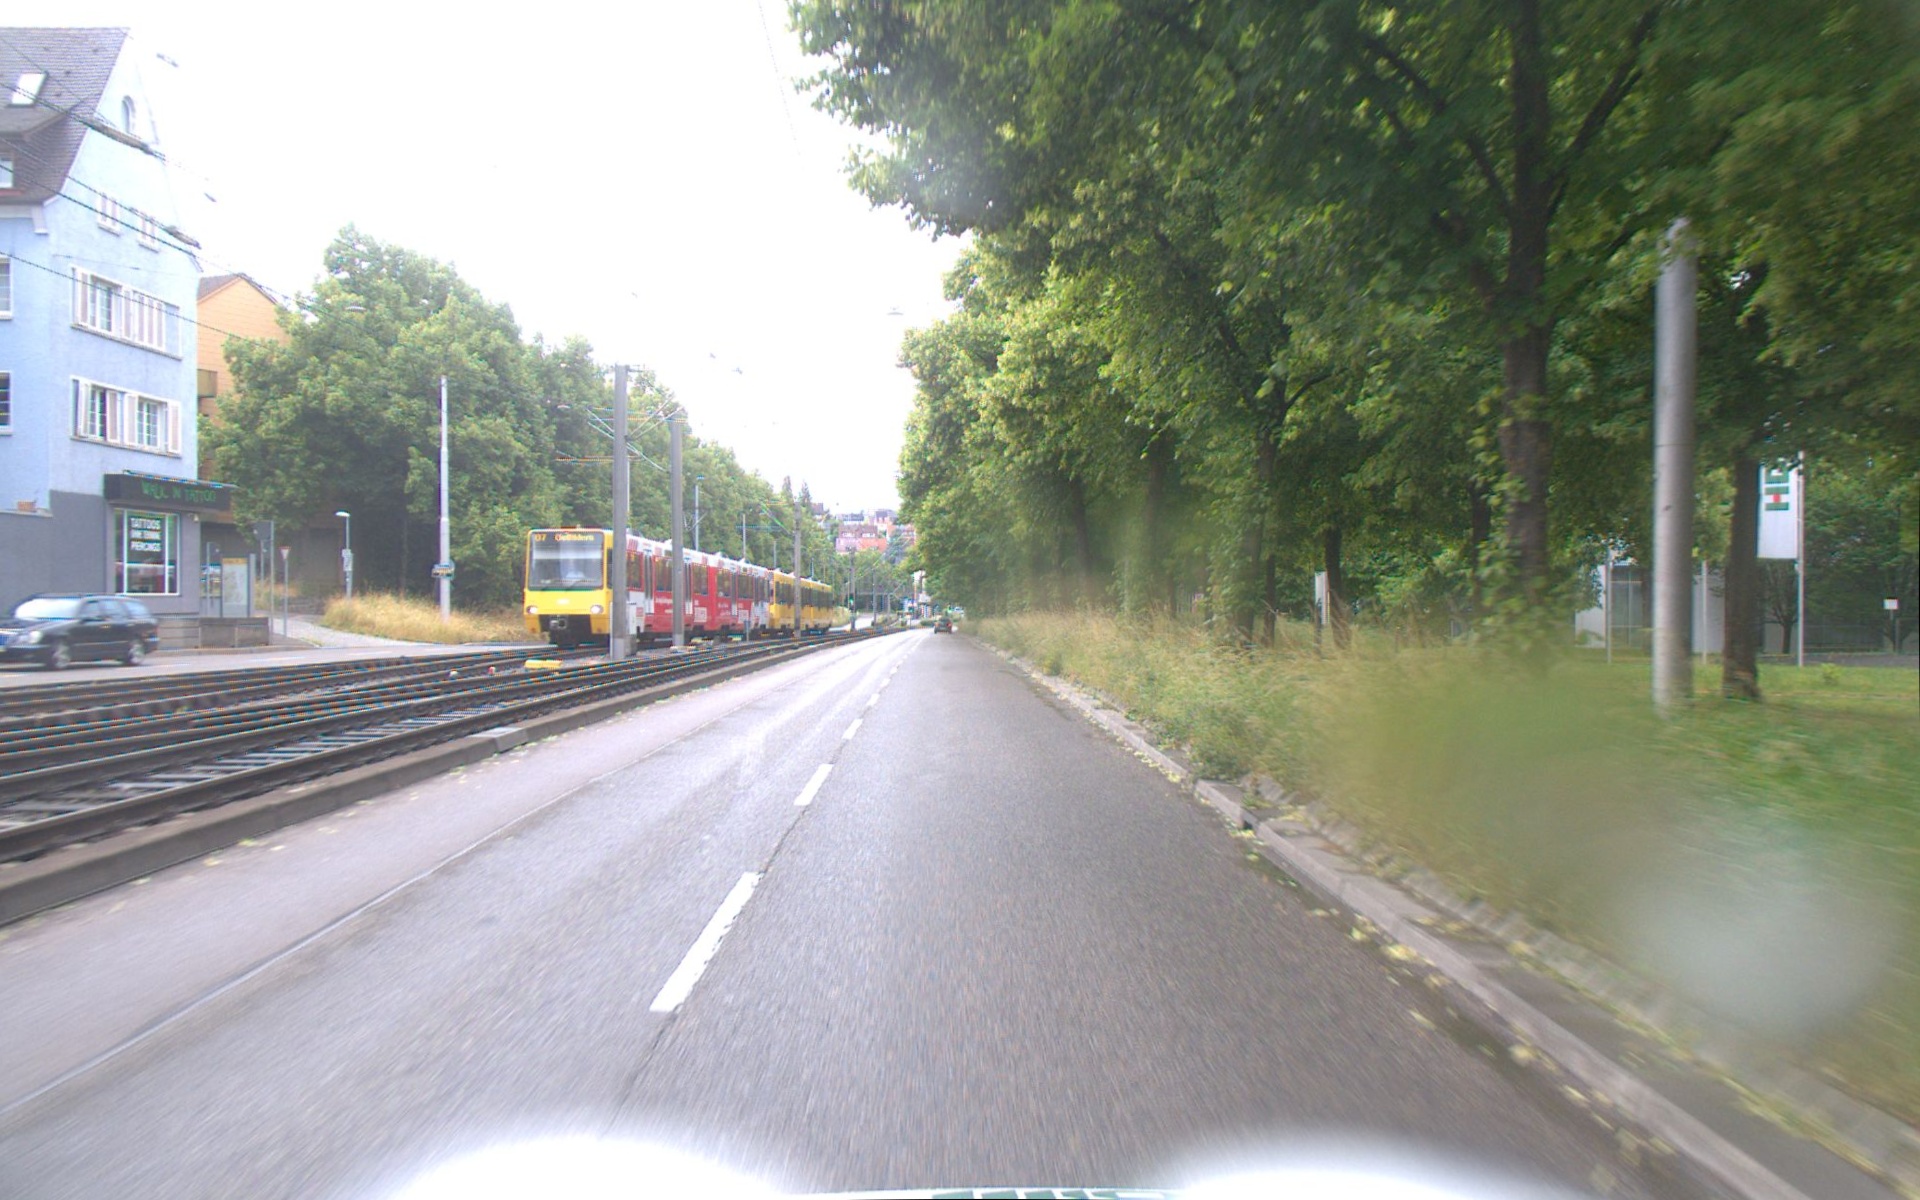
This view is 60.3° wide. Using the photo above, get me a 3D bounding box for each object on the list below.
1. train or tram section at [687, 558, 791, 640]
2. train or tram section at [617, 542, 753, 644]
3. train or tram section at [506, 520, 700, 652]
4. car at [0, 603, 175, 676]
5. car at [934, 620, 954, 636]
[{"bbox_3d":[-11.137,0.055,85.080,3.148,3.863,14.789,0,-1,1],"label":"train or tram section"},{"bbox_3d":[-11.364,-0.147,70.250,3.148,3.863,14.789,0,-1,1],"label":"train or tram section"},{"bbox_3d":[-11.531,-0.297,55.452,3.148,3.863,14.789,0,-1,1],"label":"train or tram section"},{"bbox_3d":[-17.708,0.762,32.876,1.863,1.348,4.826,0,-1,1],"label":"car"},{"bbox_3d":[-1.522,2.689,159.876,1.942,1.466,4.473,0,0,-1],"label":"car"}]
